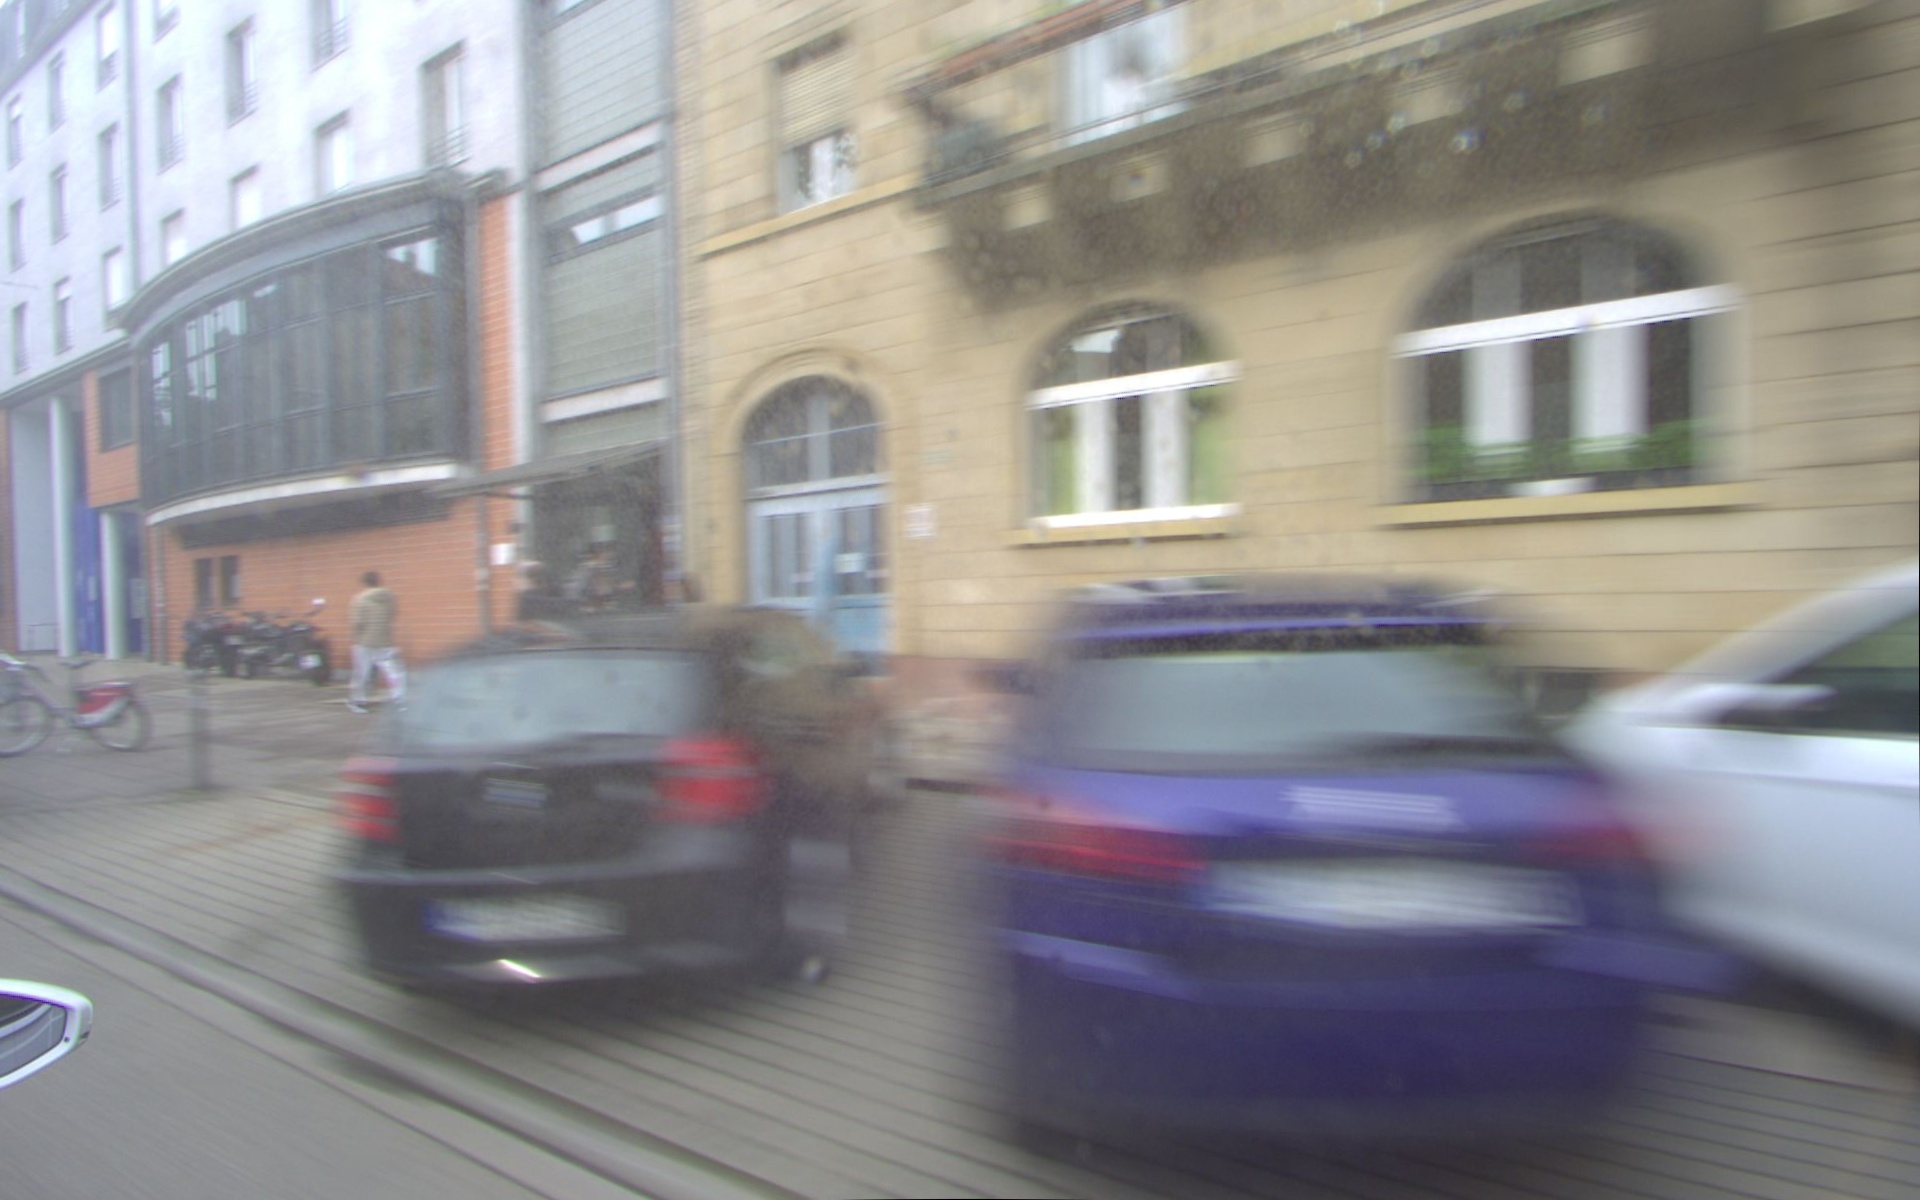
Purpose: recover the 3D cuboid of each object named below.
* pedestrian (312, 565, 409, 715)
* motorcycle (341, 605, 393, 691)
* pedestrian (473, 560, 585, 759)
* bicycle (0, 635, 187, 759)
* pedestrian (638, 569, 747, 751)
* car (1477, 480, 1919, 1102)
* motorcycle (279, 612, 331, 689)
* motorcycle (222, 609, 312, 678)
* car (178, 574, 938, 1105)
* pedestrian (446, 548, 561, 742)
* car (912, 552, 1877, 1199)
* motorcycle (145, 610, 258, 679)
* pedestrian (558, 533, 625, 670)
[{"bbox_3d":[-7.415,0.473,12.390,0.799,1.778,0.628,0,4,31],"label":"pedestrian"},{"bbox_3d":[-9.251,0.720,15.602,0.595,1.210,1.556,-2,3,-33],"label":"motorcycle"},{"bbox_3d":[-3.810,0.507,8.853,0.706,1.684,0.517,-2,2,31],"label":"pedestrian"},{"bbox_3d":[-8.943,0.953,10.038,1.703,1.119,0.729,-2,2,-8],"label":"bicycle"},{"bbox_3d":[-2.356,0.512,8.830,0.706,1.530,0.517,-2,2,31],"label":"pedestrian"},{"bbox_3d":[3.369,0.488,2.545,1.732,1.624,3.995,-1,3,-6],"label":"car"},{"bbox_3d":[-10.747,0.797,16.467,0.594,1.159,1.872,-2,1,-31],"label":"motorcycle"},{"bbox_3d":[-12.384,0.763,17.870,2.042,1.159,0.599,-1,1,34],"label":"motorcycle"},{"bbox_3d":[-1.335,0.681,5.221,1.652,1.499,4.255,-1,3,10],"label":"car"},{"bbox_3d":[-4.502,0.428,9.882,0.706,1.822,0.666,-2,2,30],"label":"pedestrian"},{"bbox_3d":[1.018,0.605,4.068,1.894,1.555,3.996,-1,3,5],"label":"car"},{"bbox_3d":[-14.439,0.818,19.044,2.178,1.219,1.025,0,2,33],"label":"motorcycle"},{"bbox_3d":[-4.726,0.031,12.839,0.619,1.711,0.506,-2,0,33],"label":"pedestrian"}]
